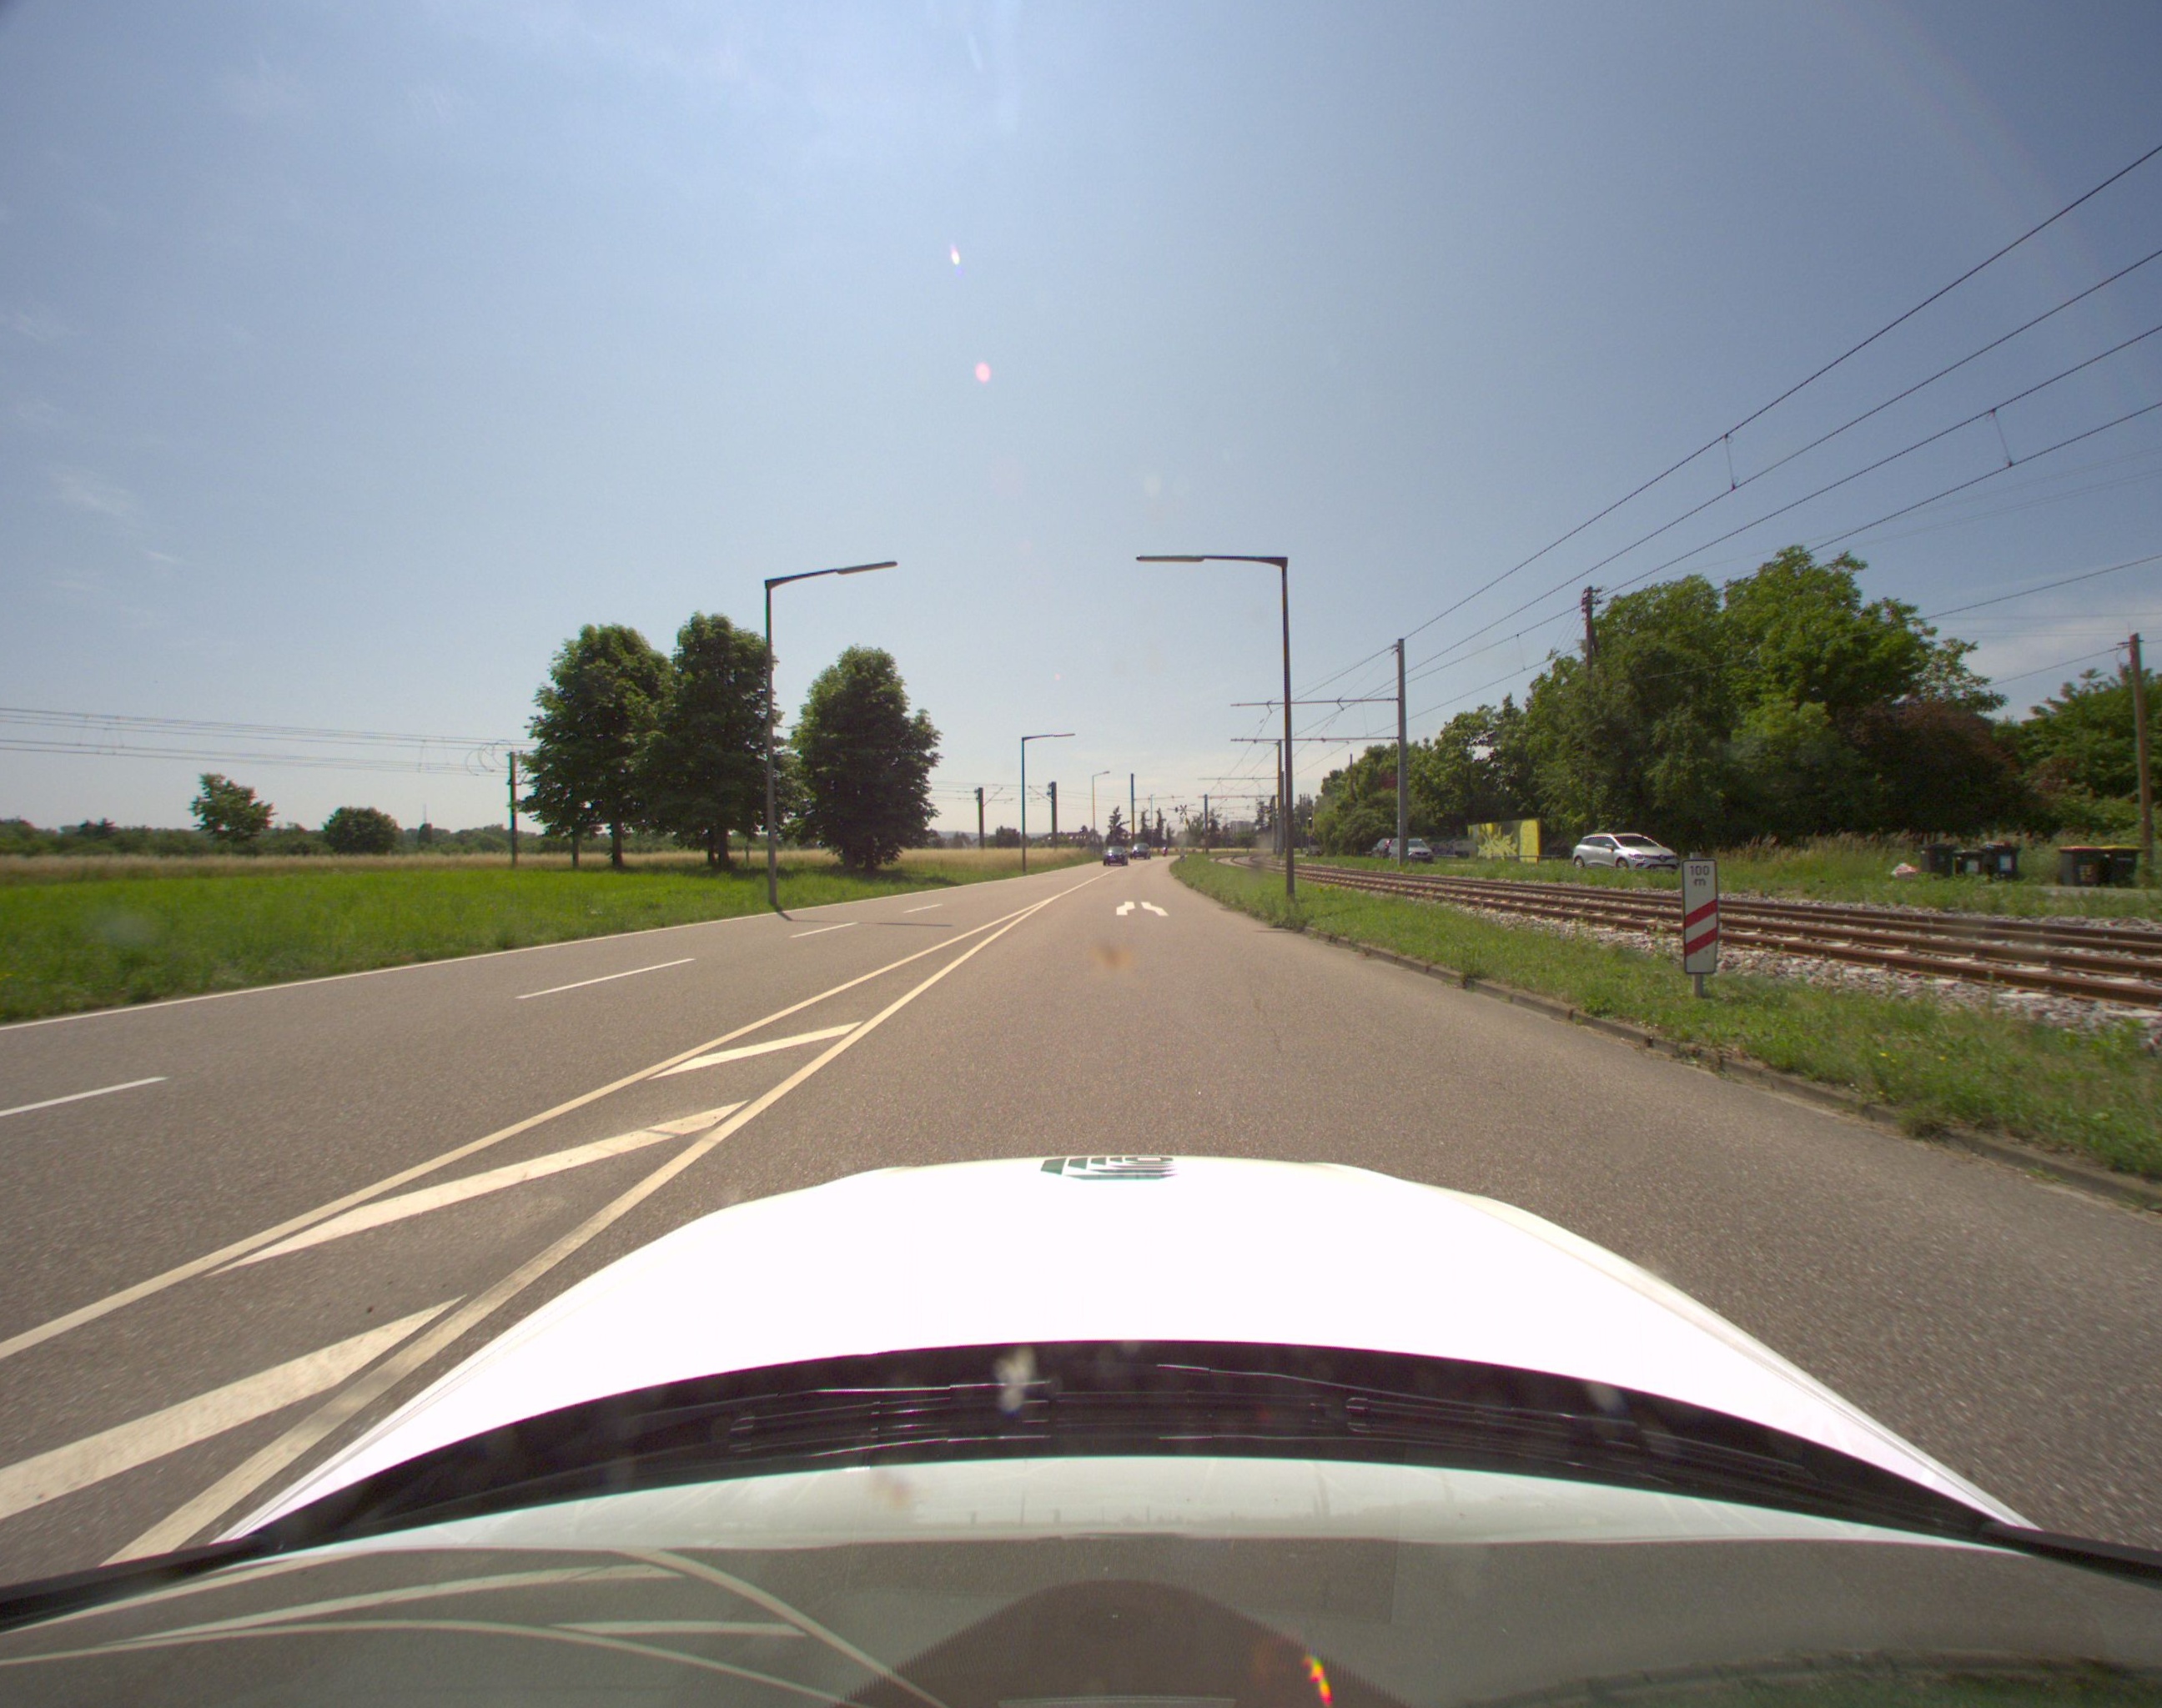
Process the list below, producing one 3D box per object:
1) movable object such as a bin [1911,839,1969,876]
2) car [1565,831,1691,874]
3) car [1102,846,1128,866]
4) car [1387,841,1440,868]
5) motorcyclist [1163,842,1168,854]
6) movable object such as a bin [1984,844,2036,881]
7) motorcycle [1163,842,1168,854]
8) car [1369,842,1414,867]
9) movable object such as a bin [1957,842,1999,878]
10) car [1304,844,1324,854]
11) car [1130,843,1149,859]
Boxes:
[{"bbox_3d":[22.521,0.102,21.364,0.793,0.935,0.784,-1,-1,24],"label":"movable object such as a bin"},{"bbox_3d":[19.357,-0.019,29.084,1.673,1.414,4.554,-1,-1,4],"label":"car"},{"bbox_3d":[2.845,0.154,67.371,1.812,1.572,4.120,-1,-1,7],"label":"car"},{"bbox_3d":[21.026,0.046,51.673,1.669,1.624,4.715,-1,-1,3],"label":"car"},{"bbox_3d":[11.233,-0.833,108.646,0.685,1.585,0.671,-1,3,5],"label":"motorcyclist"},{"bbox_3d":[24.231,0.227,21.259,0.579,0.935,0.833,-1,-1,24],"label":"movable object such as a bin"},{"bbox_3d":[11.271,-0.808,108.851,0.700,1.586,2.151,-1,2,6],"label":"motorcycle"},{"bbox_3d":[22.137,0.073,58.179,1.818,1.657,4.823,-1,-1,6],"label":"car"},{"bbox_3d":[23.621,0.153,21.461,0.443,0.935,0.807,-1,-1,24],"label":"movable object such as a bin"},{"bbox_3d":[28.116,-0.588,98.396,1.637,1.171,3.673,-1,-1,4],"label":"car"},{"bbox_3d":[6.272,-0.329,86.482,1.817,1.601,4.493,-1,1,7],"label":"car"}]
